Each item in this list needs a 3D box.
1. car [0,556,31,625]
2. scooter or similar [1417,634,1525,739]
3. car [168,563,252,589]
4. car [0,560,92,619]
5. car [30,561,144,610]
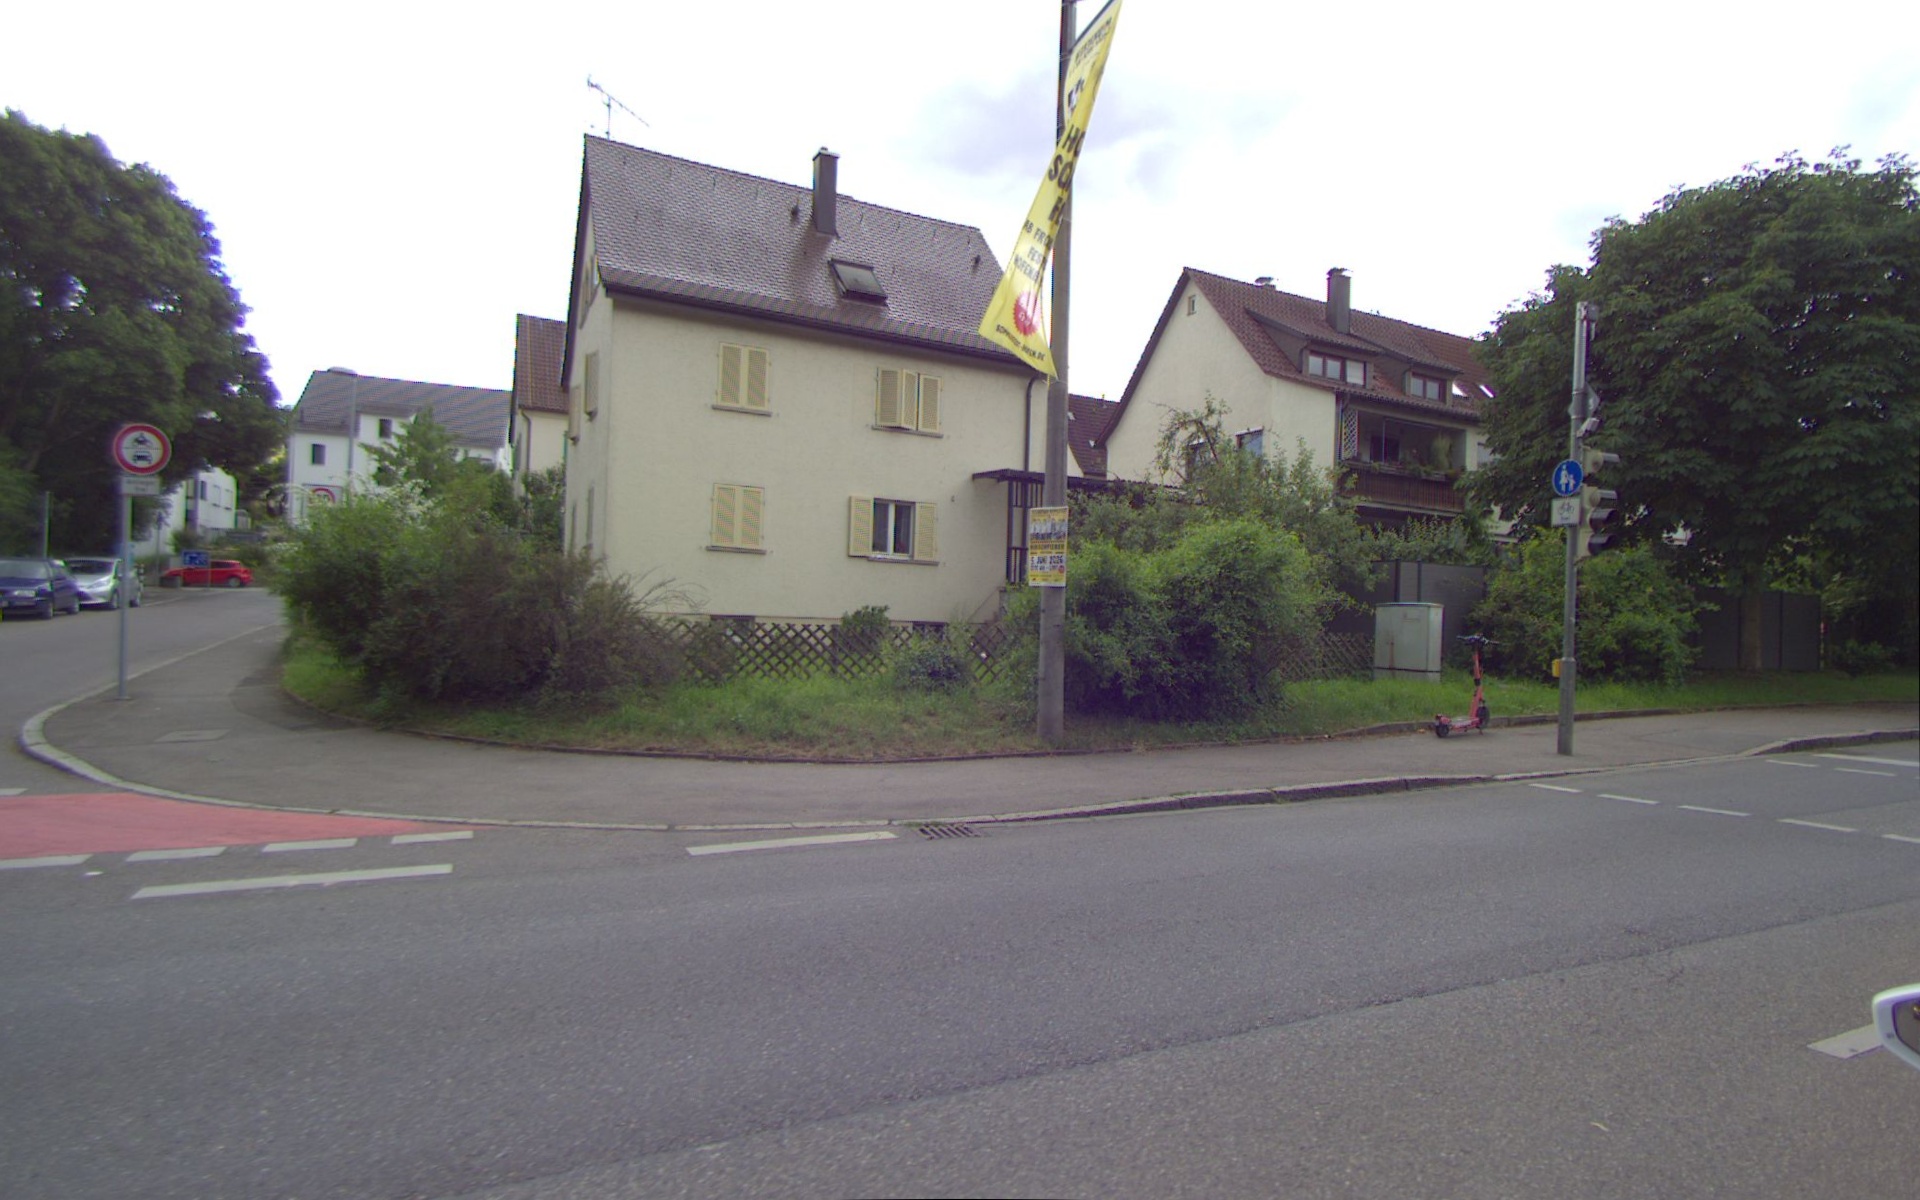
[{"bbox_3d":[-20.821,-0.214,20.457,1.778,1.462,3.881,1,0,-27],"label":"car"},{"bbox_3d":[6.535,1.090,12.836,1.407,1.276,0.461,2,0,-26],"label":"scooter or similar"},{"bbox_3d":[-40.277,-1.263,54.019,3.360,1.273,1.648,1,0,-29],"label":"car"},{"bbox_3d":[-22.392,-0.270,24.042,1.668,1.326,3.377,1,0,-27],"label":"car"},{"bbox_3d":[-24.669,-0.404,28.512,1.640,1.273,3.377,1,0,-27],"label":"car"}]
